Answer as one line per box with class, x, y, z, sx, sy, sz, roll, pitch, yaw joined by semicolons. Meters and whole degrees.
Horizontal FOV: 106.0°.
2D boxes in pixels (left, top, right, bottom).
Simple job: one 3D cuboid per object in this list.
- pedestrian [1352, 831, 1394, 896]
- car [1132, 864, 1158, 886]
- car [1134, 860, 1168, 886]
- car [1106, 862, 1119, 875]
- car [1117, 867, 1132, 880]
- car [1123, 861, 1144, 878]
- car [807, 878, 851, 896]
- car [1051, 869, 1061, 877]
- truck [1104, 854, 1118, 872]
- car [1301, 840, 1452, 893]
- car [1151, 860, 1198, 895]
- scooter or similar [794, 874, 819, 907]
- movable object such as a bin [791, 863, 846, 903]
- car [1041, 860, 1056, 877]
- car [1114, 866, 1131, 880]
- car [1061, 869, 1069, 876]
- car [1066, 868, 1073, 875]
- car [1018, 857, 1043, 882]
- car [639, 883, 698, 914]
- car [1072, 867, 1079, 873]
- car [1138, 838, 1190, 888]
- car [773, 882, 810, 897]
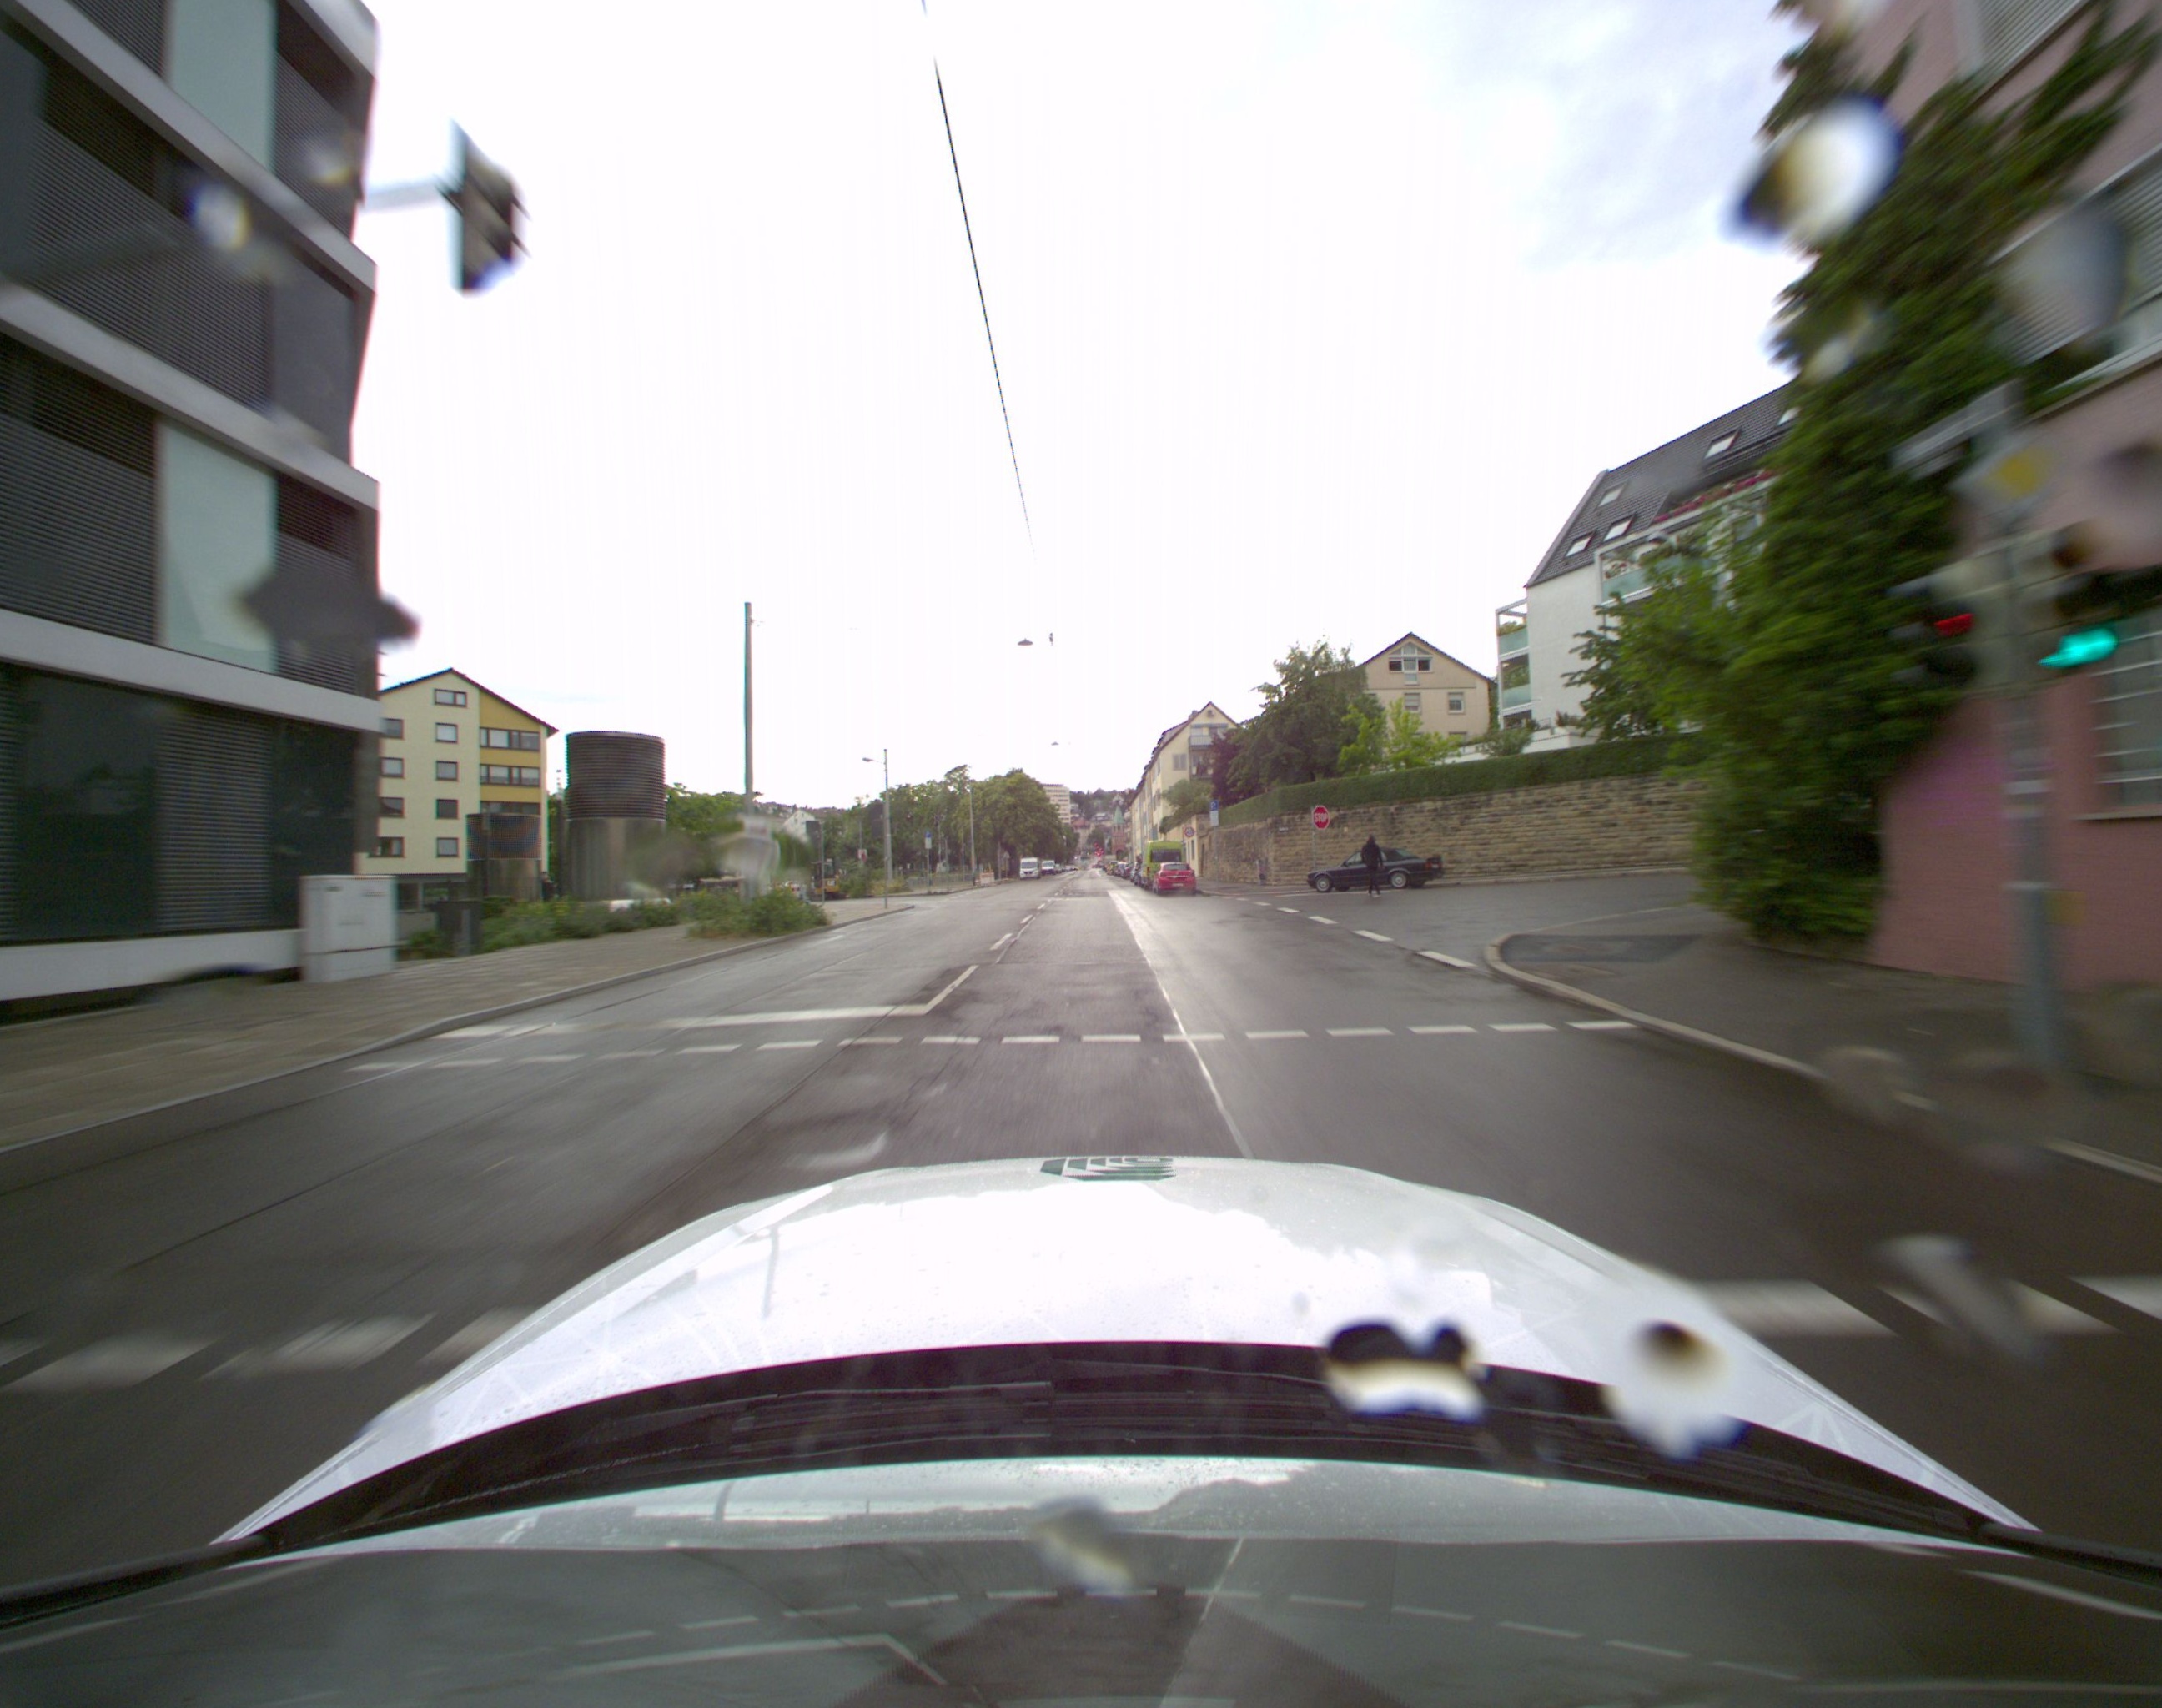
pedestrian;7.960;0.255;22.248;0.721;1.715;0.905;-4;-1;1
car;4.763;1.598;61.035;1.683;1.454;4.233;-1;-3;0
car;4.152;1.105;49.053;1.683;1.454;4.234;-1;-1;0
car;4.887;2.185;125.408;1.811;1.924;4.239;-3;-1;1
car;4.809;2.163;90.508;1.553;1.454;3.758;-1;-1;0
car;4.571;1.333;71.291;1.624;1.454;3.758;-1;-1;0
car;-30.349;3.954;98.114;1.974;1.834;4.722;-4;-1;42
car;-4.544;3.495;147.240;1.677;1.399;3.909;-3;-2;0
truck;5.596;1.795;151.680;2.461;3.172;7.036;-2;-1;1
car;9.625;0.425;26.709;4.223;1.393;1.763;-6;-4;42
car;4.112;1.012;36.425;1.714;1.421;4.204;-1;-1;2
scooter or similar;-10.483;1.391;31.102;0.494;1.248;1.232;-1;-2;2
movable object such as a bin;-17.405;1.907;53.798;1.680;2.459;5.227;-1;-1;-39
car;-5.203;2.313;131.447;2.004;2.487;5.984;-3;-1;1
car;4.879;2.236;95.915;1.710;1.524;3.999;-1;-1;0
car;-3.716;4.370;188.042;1.798;1.451;4.654;-3;-2;-1
car;-2.929;4.394;203.009;1.704;1.451;4.292;-3;-2;0
car;-5.711;1.728;92.595;2.223;2.579;6.535;-4;-1;0
car;-37.268;4.052;73.536;5.659;2.413;2.691;-5;-1;41
car;-1.394;4.217;211.284;1.800;1.416;4.380;-2;-1;-2
car;4.299;0.486;43.133;2.197;2.463;6.080;-1;-1;1
car;-37.390;4.562;105.162;1.777;1.625;4.025;-4;-1;42
